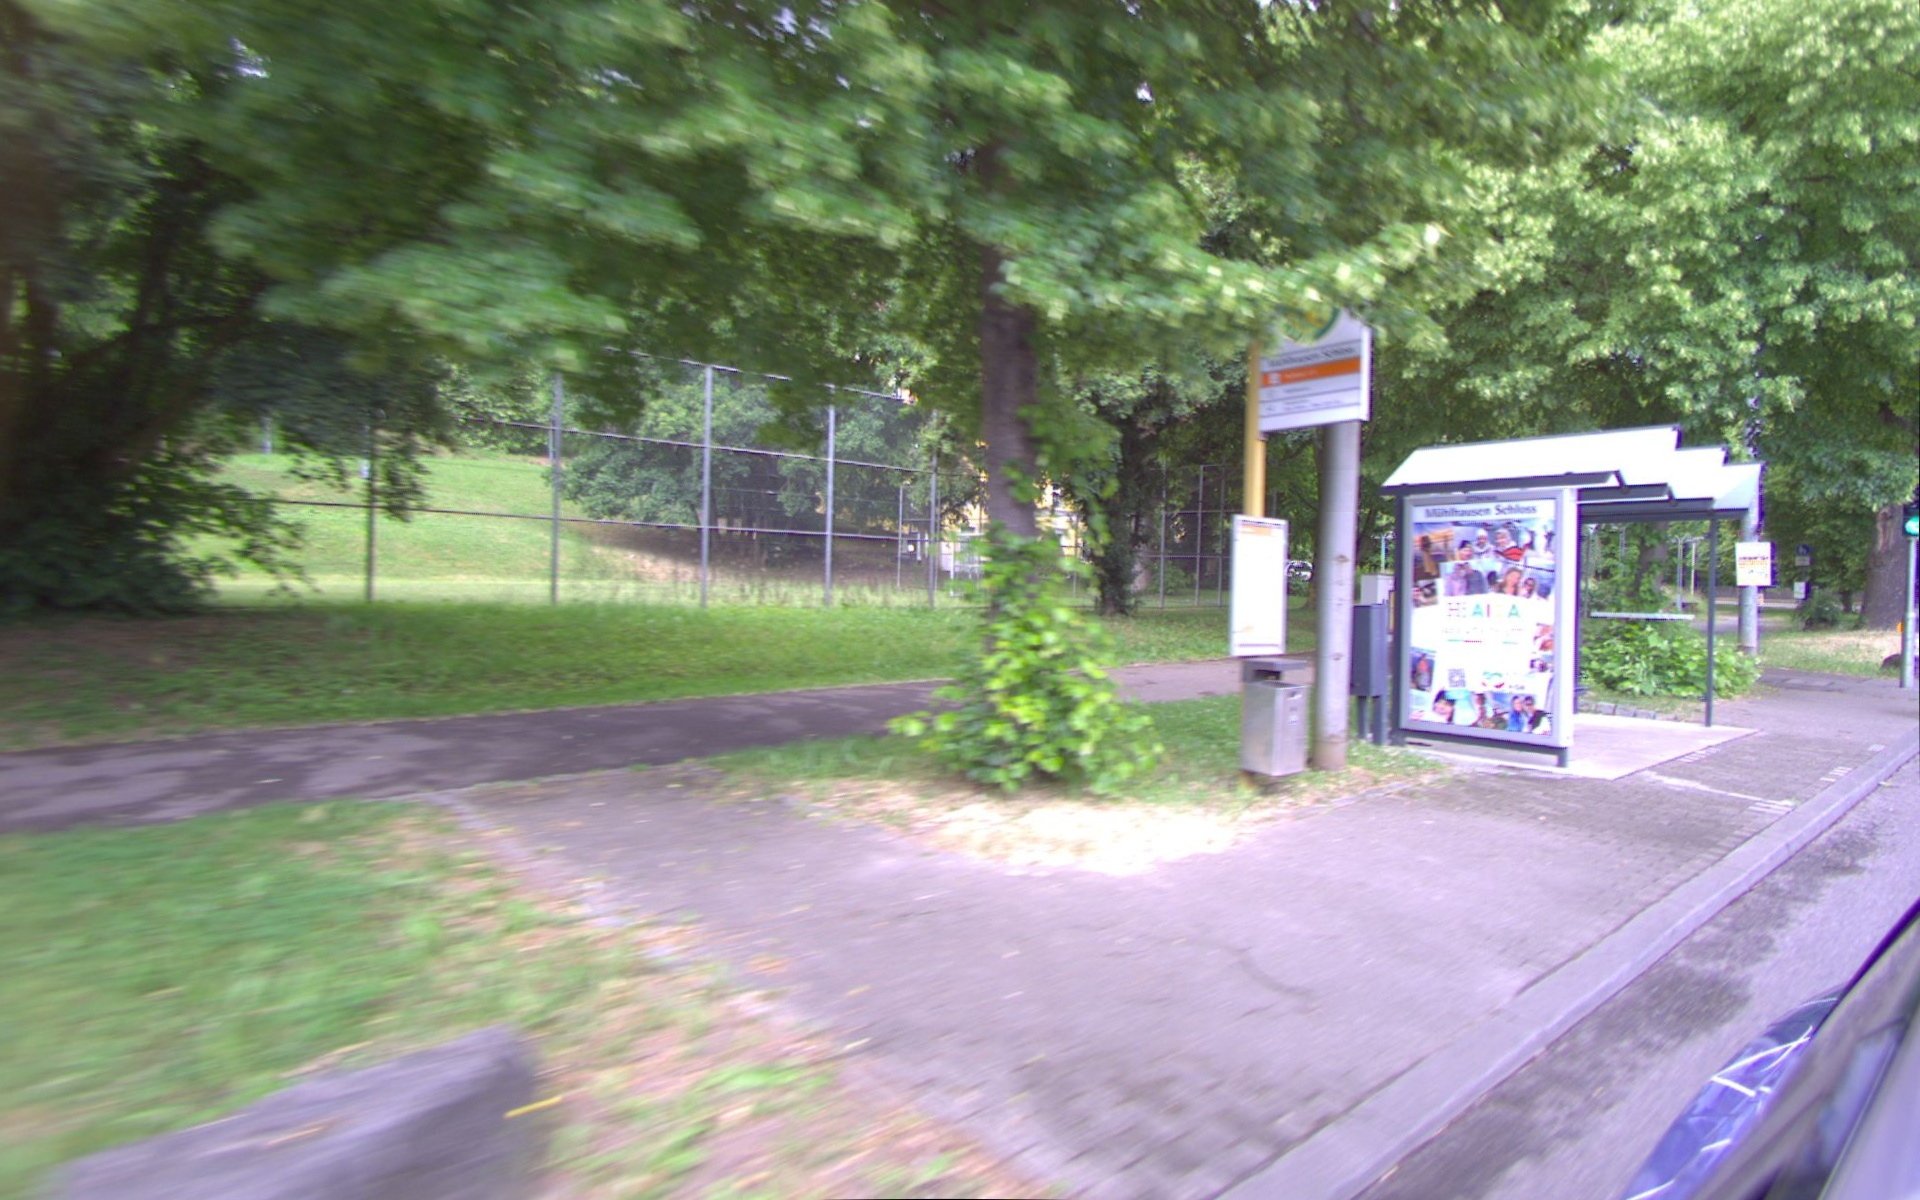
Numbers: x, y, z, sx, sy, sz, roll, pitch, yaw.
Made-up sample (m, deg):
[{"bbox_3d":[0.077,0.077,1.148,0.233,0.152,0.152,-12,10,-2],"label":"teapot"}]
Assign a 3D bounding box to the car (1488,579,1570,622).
[{"bbox_3d":[22.544,0.049,40.015,1.906,1.449,4.399,4,1,41],"label":"car"}]
